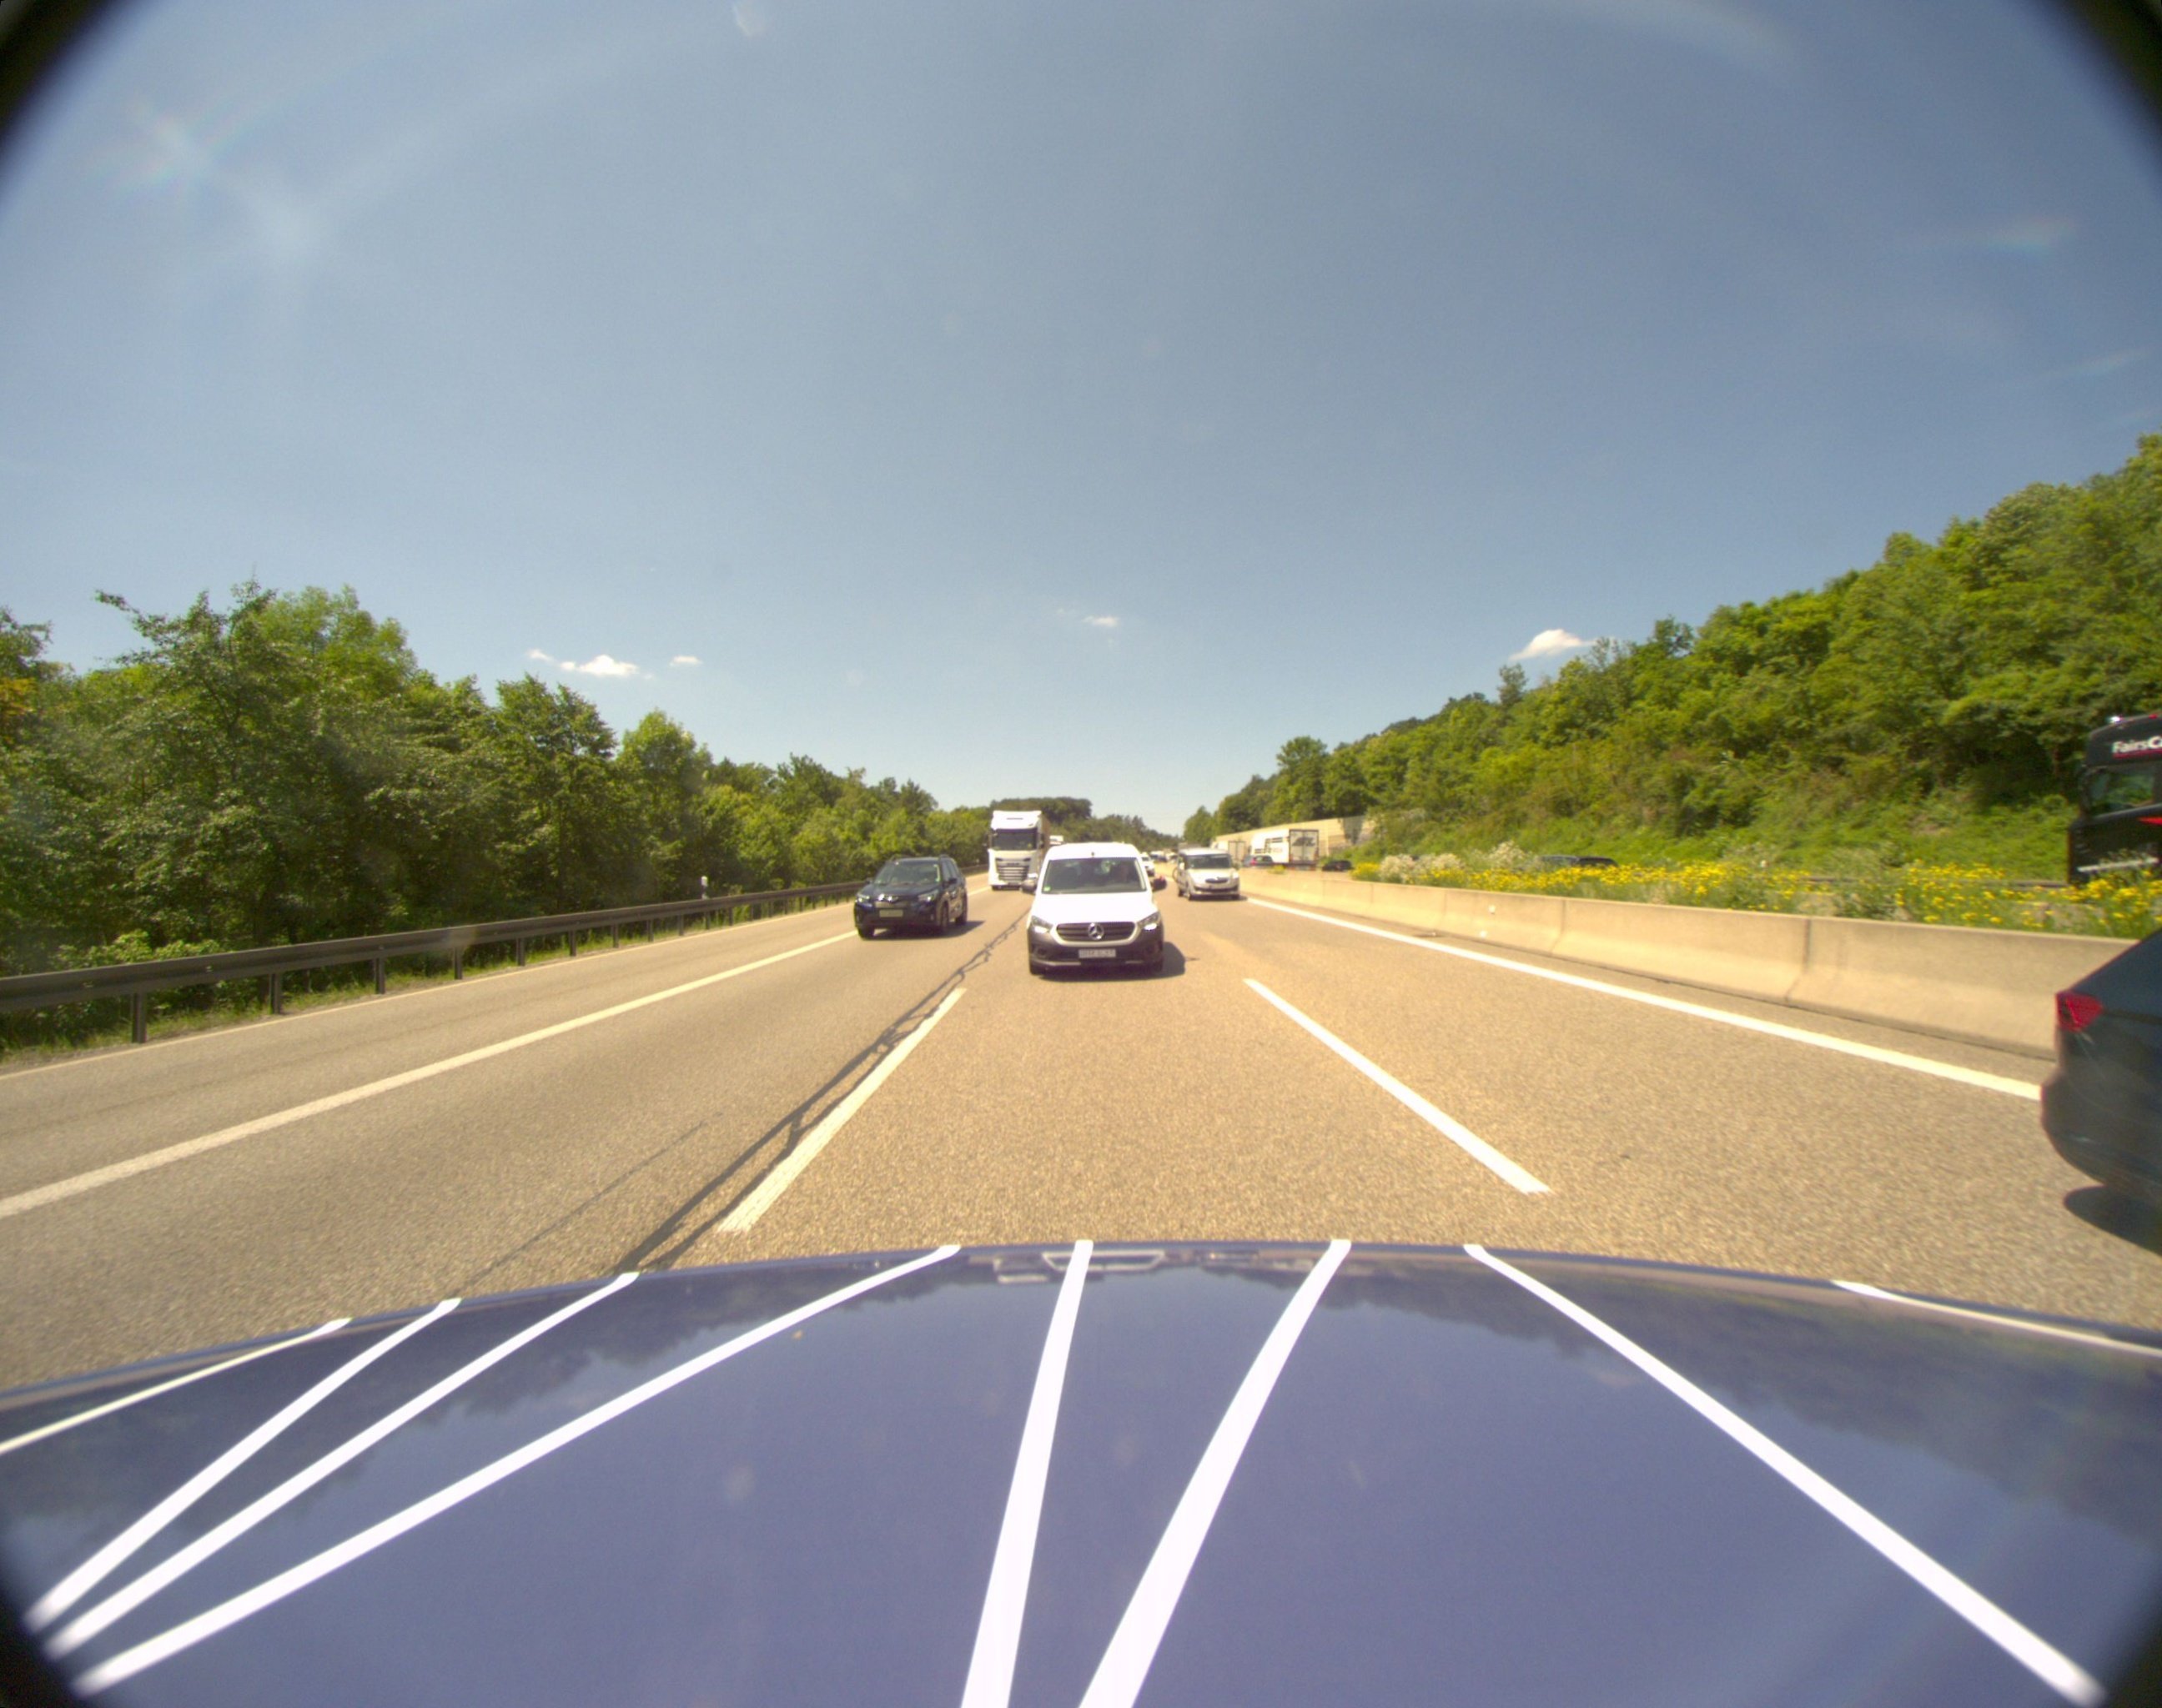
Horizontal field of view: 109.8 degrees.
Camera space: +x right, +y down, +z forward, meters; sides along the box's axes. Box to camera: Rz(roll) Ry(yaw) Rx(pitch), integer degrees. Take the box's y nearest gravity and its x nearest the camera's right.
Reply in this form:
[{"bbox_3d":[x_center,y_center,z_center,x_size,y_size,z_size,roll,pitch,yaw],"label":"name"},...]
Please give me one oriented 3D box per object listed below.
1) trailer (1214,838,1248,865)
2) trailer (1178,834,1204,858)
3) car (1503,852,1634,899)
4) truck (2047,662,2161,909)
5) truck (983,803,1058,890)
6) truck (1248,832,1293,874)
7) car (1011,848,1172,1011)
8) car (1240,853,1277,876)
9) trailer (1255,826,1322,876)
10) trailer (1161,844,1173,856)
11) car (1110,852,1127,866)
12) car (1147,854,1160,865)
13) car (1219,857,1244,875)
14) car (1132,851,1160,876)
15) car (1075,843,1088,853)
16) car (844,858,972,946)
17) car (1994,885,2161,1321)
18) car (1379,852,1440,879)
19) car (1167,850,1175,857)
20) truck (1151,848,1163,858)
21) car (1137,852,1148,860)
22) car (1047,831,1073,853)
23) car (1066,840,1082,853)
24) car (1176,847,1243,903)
[{"bbox_3d":[23.364,-0.473,119.278,2.814,4.024,12.624,1,1,0],"label":"trailer"},{"bbox_3d":[20.227,-1.475,140.097,2.842,4.141,14.737,1,1,1],"label":"trailer"},{"bbox_3d":[15.127,0.618,23.851,1.567,1.358,4.000,0,0,0],"label":"car"},{"bbox_3d":[18.726,-1.041,9.643,2.913,3.951,7.768,1,1,0],"label":"truck"},{"bbox_3d":[-3.205,-0.386,45.145,2.790,4.144,16.267,-2,0,1],"label":"truck"},{"bbox_3d":[19.557,-0.114,78.670,2.810,4.141,7.598,0,1,1],"label":"truck"},{"bbox_3d":[0.181,0.840,10.540,1.729,1.760,4.313,-1,0,2],"label":"car"},{"bbox_3d":[11.993,0.711,51.553,1.567,1.510,4.000,0,0,0],"label":"car"},{"bbox_3d":[19.444,-0.317,72.470,2.810,4.313,14.036,0,1,1],"label":"trailer"},{"bbox_3d":[29.945,-1.527,264.688,2.819,3.886,13.827,1,1,2],"label":"trailer"},{"bbox_3d":[4.891,0.680,100.512,1.998,1.783,4.000,-1,0,0],"label":"car"},{"bbox_3d":[12.998,0.956,136.884,1.916,1.836,5.035,1,1,0],"label":"car"},{"bbox_3d":[16.134,1.226,81.785,1.789,1.766,4.730,1,1,0],"label":"car"},{"bbox_3d":[4.908,0.701,57.832,1.998,1.827,4.001,1,0,3],"label":"car"},{"bbox_3d":[0.144,-1.470,186.234,2.721,2.534,5.941,1,1,3],"label":"car"},{"bbox_3d":[-3.731,0.972,17.188,1.816,1.658,4.203,-2,0,1],"label":"car"},{"bbox_3d":[4.418,0.844,0.594,1.737,1.419,4.730,0,0,1],"label":"car"},{"bbox_3d":[17.815,0.604,41.387,1.567,1.358,4.000,0,0,0],"label":"car"},{"bbox_3d":[26.372,-0.165,223.496,1.998,2.002,4.000,-1,0,1],"label":"car"},{"bbox_3d":[21.710,-0.195,217.140,2.534,2.673,11.627,1,1,1],"label":"truck"},{"bbox_3d":[13.408,0.493,166.922,1.999,1.783,3.999,-1,0,-1],"label":"car"},{"bbox_3d":[-2.586,-1.469,94.441,2.721,2.534,5.941,1,1,3],"label":"car"},{"bbox_3d":[-1.305,-1.441,144.188,2.721,2.534,5.941,1,1,3],"label":"car"},{"bbox_3d":[4.512,0.702,27.186,1.780,1.833,4.000,-1,0,1],"label":"car"}]
